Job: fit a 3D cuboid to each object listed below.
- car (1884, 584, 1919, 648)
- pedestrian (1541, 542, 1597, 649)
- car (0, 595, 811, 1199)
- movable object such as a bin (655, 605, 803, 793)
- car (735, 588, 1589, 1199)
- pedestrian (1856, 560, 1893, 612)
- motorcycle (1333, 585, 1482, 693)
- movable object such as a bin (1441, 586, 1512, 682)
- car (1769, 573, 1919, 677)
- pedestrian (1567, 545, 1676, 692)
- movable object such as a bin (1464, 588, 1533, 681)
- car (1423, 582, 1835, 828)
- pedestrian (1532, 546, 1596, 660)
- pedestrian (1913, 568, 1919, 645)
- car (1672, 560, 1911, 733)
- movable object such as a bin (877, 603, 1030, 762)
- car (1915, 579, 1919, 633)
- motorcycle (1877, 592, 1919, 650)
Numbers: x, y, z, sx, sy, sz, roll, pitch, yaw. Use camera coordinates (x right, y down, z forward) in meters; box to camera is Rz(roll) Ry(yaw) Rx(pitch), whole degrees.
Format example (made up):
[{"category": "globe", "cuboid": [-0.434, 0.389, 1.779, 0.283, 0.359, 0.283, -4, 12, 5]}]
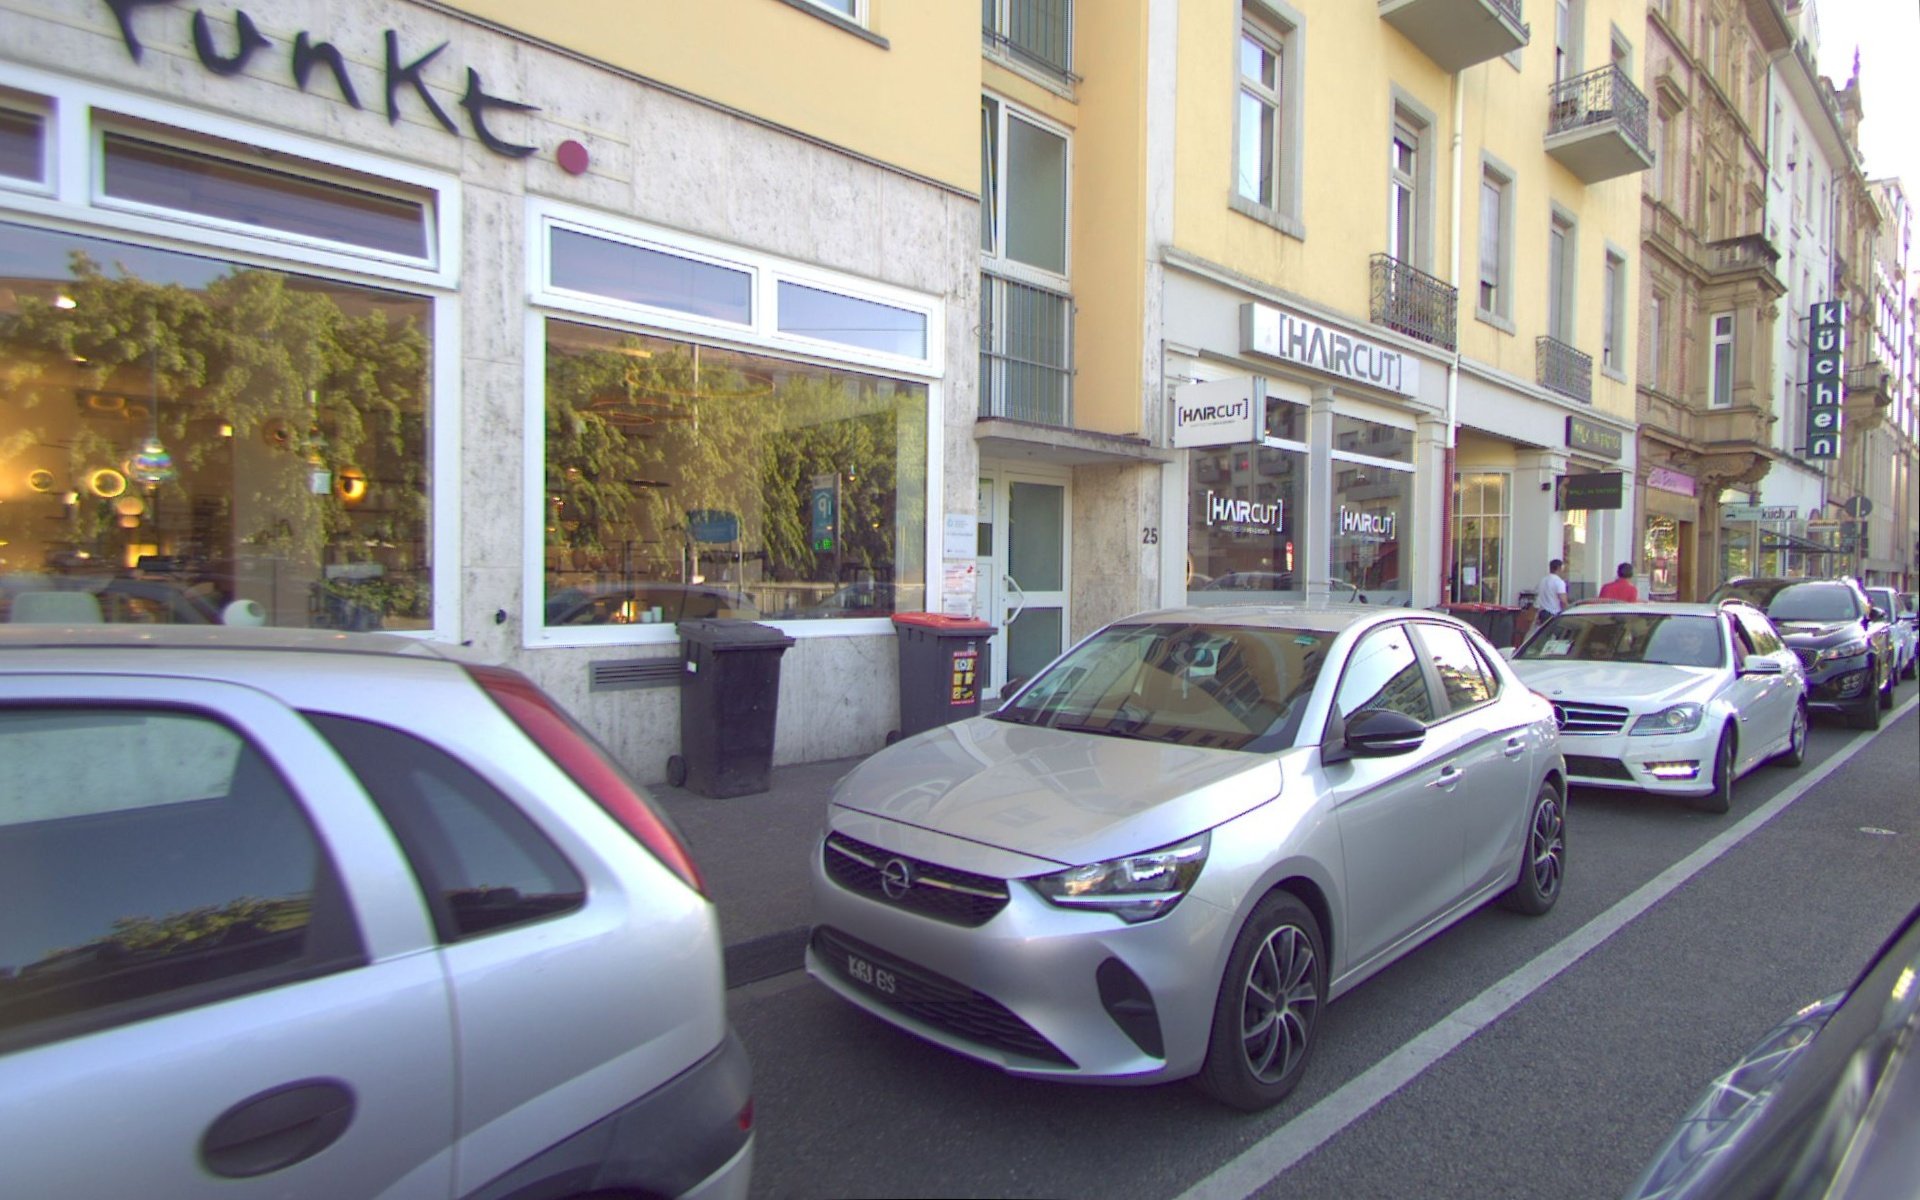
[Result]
[{"category": "car", "cuboid": [24.352, 0.356, 25.116, 3.932, 1.504, 1.713, -1, 1, -42]}, {"category": "pedestrian", "cuboid": [9.548, -0.074, 15.875, 0.631, 1.637, 0.572, 0, 1, -40]}, {"category": "car", "cuboid": [-2.132, 0.716, 1.184, 3.578, 1.399, 1.616, -1, 0, -40]}, {"category": "movable object such as a bin", "cuboid": [-1.447, 0.570, 6.301, 0.591, 1.041, 0.812, -1, 1, -40]}, {"category": "car", "cuboid": [1.098, 0.674, 4.167, 3.643, 1.415, 1.651, -1, 1, -43]}, {"category": "pedestrian", "cuboid": [29.362, -0.449, 32.491, 0.750, 1.637, 0.794, 0, 1, -43]}, {"category": "motorcycle", "cuboid": [5.544, 0.427, 12.478, 2.208, 1.179, 0.773, -1, 4, -41]}, {"category": "movable object such as a bin", "cuboid": [6.859, 0.431, 13.453, 0.633, 1.222, 0.647, 0, 1, -40]}, {"category": "car", "cuboid": [15.016, 0.348, 16.997, 2.965, 1.587, 1.695, -1, 1, -40]}, {"category": "pedestrian", "cuboid": [8.697, 0.203, 13.314, 0.991, 1.805, 0.866, -1, 5, -42]}, {"category": "movable object such as a bin", "cuboid": [7.368, 0.451, 13.843, 0.633, 1.222, 0.647, 0, 1, -40]}, {"category": "car", "cuboid": [5.651, 0.597, 8.289, 4.520, 1.480, 1.757, -1, 1, -42]}, {"category": "pedestrian", "cuboid": [8.958, 0.031, 15.014, 0.689, 1.637, 0.641, 0, 1, -42]}, {"category": "pedestrian", "cuboid": [21.503, 0.148, 22.070, 0.679, 1.687, 0.836, 0, 1, -21]}, {"category": "car", "cuboid": [10.295, 0.417, 12.388, 1.853, 1.719, 4.623, 1, 1, 45]}, {"category": "movable object such as a bin", "cuboid": [-0.048, 0.576, 7.574, 0.878, 1.066, 0.752, -1, 1, -41]}, {"category": "car", "cuboid": [28.600, 0.156, 28.846, 3.932, 1.504, 1.713, -1, 1, -42]}, {"category": "motorcycle", "cuboid": [21.498, 0.460, 22.494, 1.514, 1.247, 0.771, 0, 1, 1]}]
